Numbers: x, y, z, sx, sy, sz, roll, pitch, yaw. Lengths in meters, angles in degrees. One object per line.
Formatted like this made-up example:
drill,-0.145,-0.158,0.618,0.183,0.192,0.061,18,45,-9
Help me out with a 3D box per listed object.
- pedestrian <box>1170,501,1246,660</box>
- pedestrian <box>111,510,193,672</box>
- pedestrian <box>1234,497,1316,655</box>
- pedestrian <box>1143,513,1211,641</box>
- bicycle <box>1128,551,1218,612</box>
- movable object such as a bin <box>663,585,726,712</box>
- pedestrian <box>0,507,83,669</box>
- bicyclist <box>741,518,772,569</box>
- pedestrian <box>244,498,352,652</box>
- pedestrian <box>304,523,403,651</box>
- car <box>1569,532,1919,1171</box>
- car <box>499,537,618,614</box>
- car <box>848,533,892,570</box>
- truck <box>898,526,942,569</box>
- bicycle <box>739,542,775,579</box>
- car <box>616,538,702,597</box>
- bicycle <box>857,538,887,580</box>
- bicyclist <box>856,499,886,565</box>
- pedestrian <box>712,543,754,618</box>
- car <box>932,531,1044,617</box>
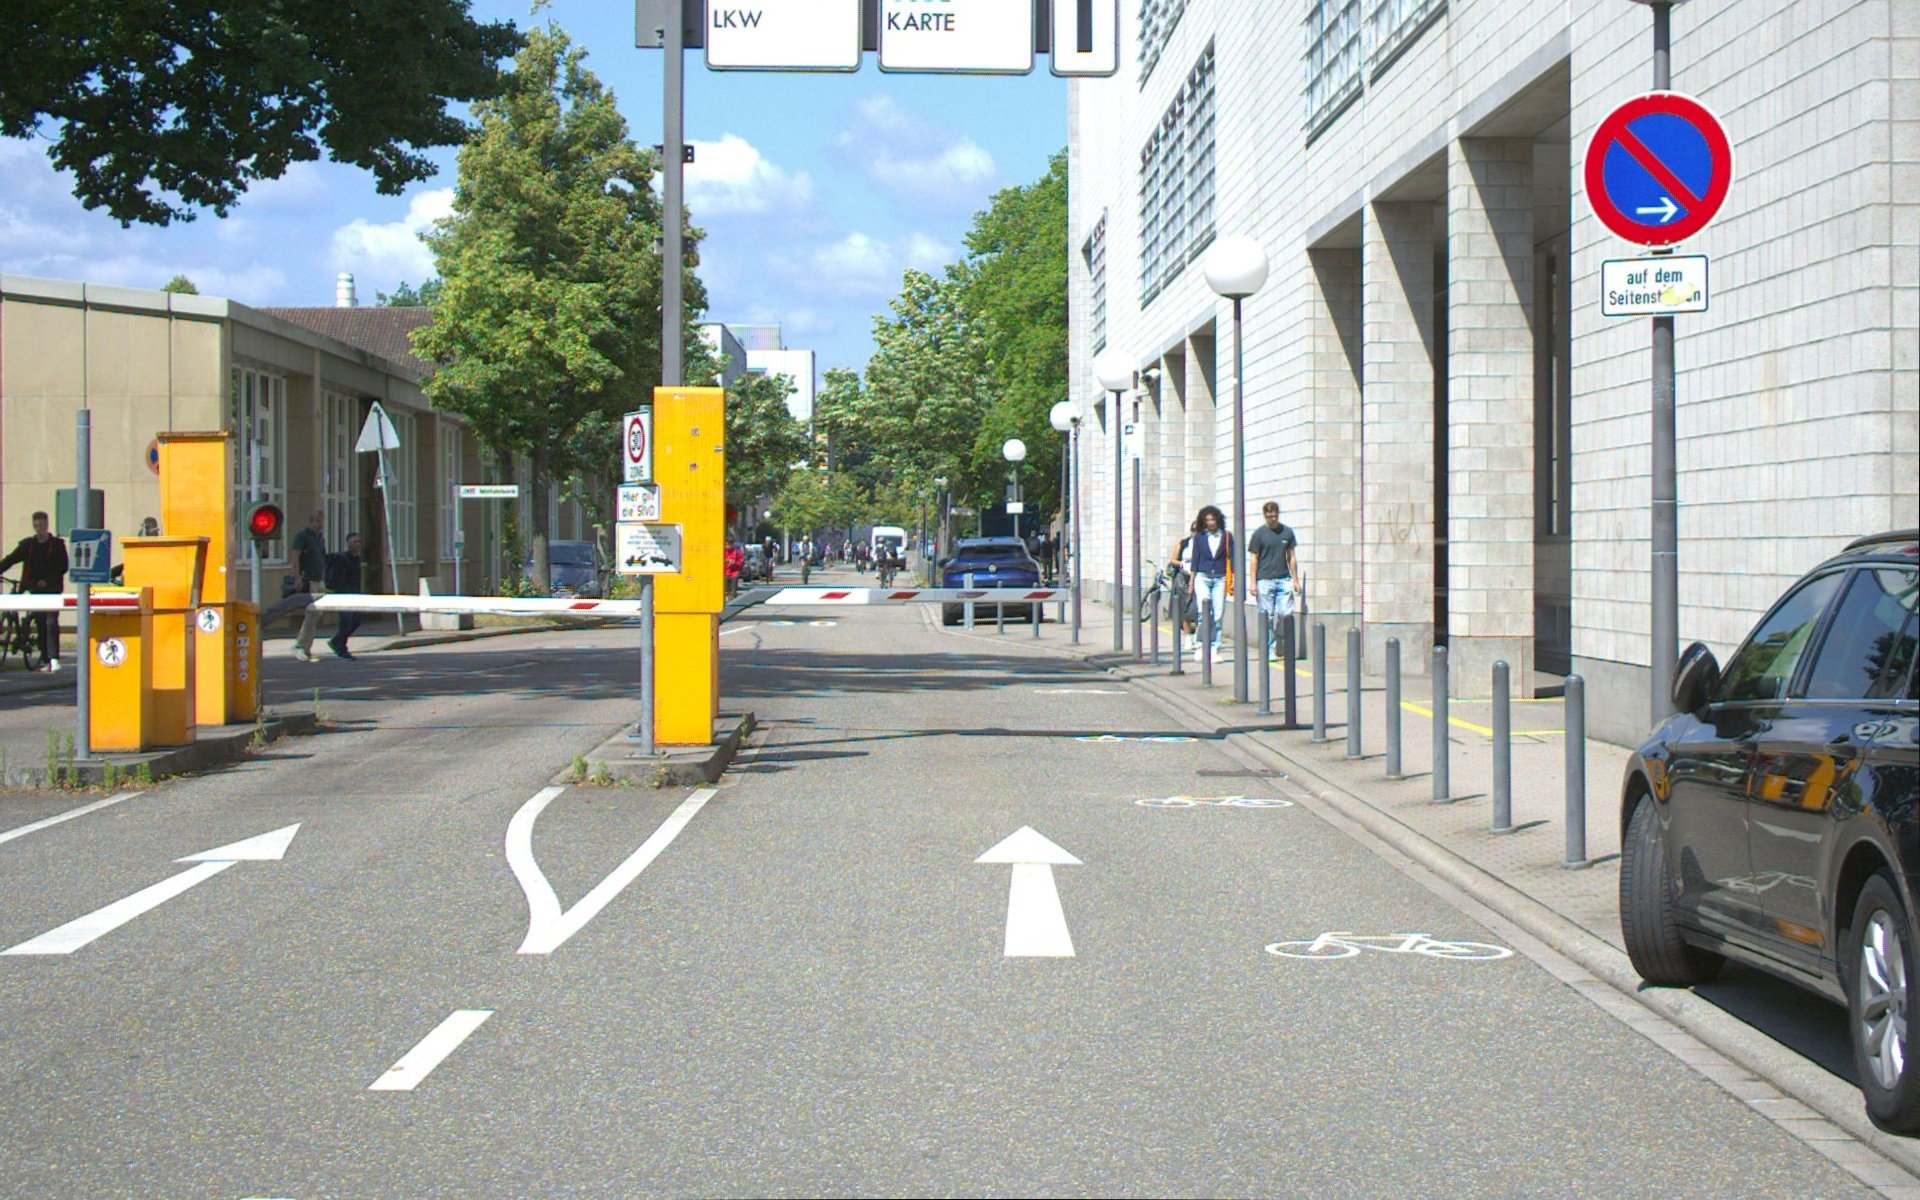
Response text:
pedestrian,2.851,-0.235,39.567,0.694,1.774,1.086,-2,1,-2
pedestrian,-9.176,-0.113,39.086,0.705,1.803,1.001,-1,1,-2
pedestrian,3.626,-0.285,39.655,0.767,1.774,0.911,-2,1,-2
pedestrian,2.825,-0.305,44.884,0.741,1.627,0.888,-2,1,-2
bicycle,3.776,-0.326,60.935,1.544,1.063,0.647,-1,1,7
movable object such as a bin,-1.926,0.350,24.974,0.416,0.902,0.353,0,1,3
pedestrian,-10.586,-0.147,39.038,1.056,1.809,0.806,-1,1,-2
bicyclist,-7.734,-2.141,130.675,0.987,1.877,1.036,0,-1,-12
pedestrian,-8.392,-0.316,43.613,0.886,1.919,1.004,0,0,36
pedestrian,-7.843,-0.170,44.474,0.886,1.627,0.895,0,0,36
car,3.082,0.537,9.616,1.866,1.459,4.520,0,1,-1
car,-8.258,-0.529,71.015,1.993,1.540,4.212,0,1,-1
car,-4.556,-2.435,173.883,1.993,1.714,4.000,-1,-1,1
truck,-1.980,-2.555,168.863,1.993,2.007,4.000,-1,-1,-3
bicycle,-7.727,-1.503,130.706,0.987,1.311,2.965,0,-1,-11
car,-8.117,-0.900,93.057,1.993,1.540,4.212,0,1,-1
bicycle,-2.913,-1.332,113.436,0.987,1.311,2.964,-1,-1,-2
bicyclist,-2.931,-2.230,113.242,0.987,2.125,1.036,-1,-1,-2
pedestrian,-4.977,-0.433,75.388,0.894,1.627,0.888,0,0,-3
car,0.492,-0.507,63.971,1.993,1.540,4.212,0,1,-1
